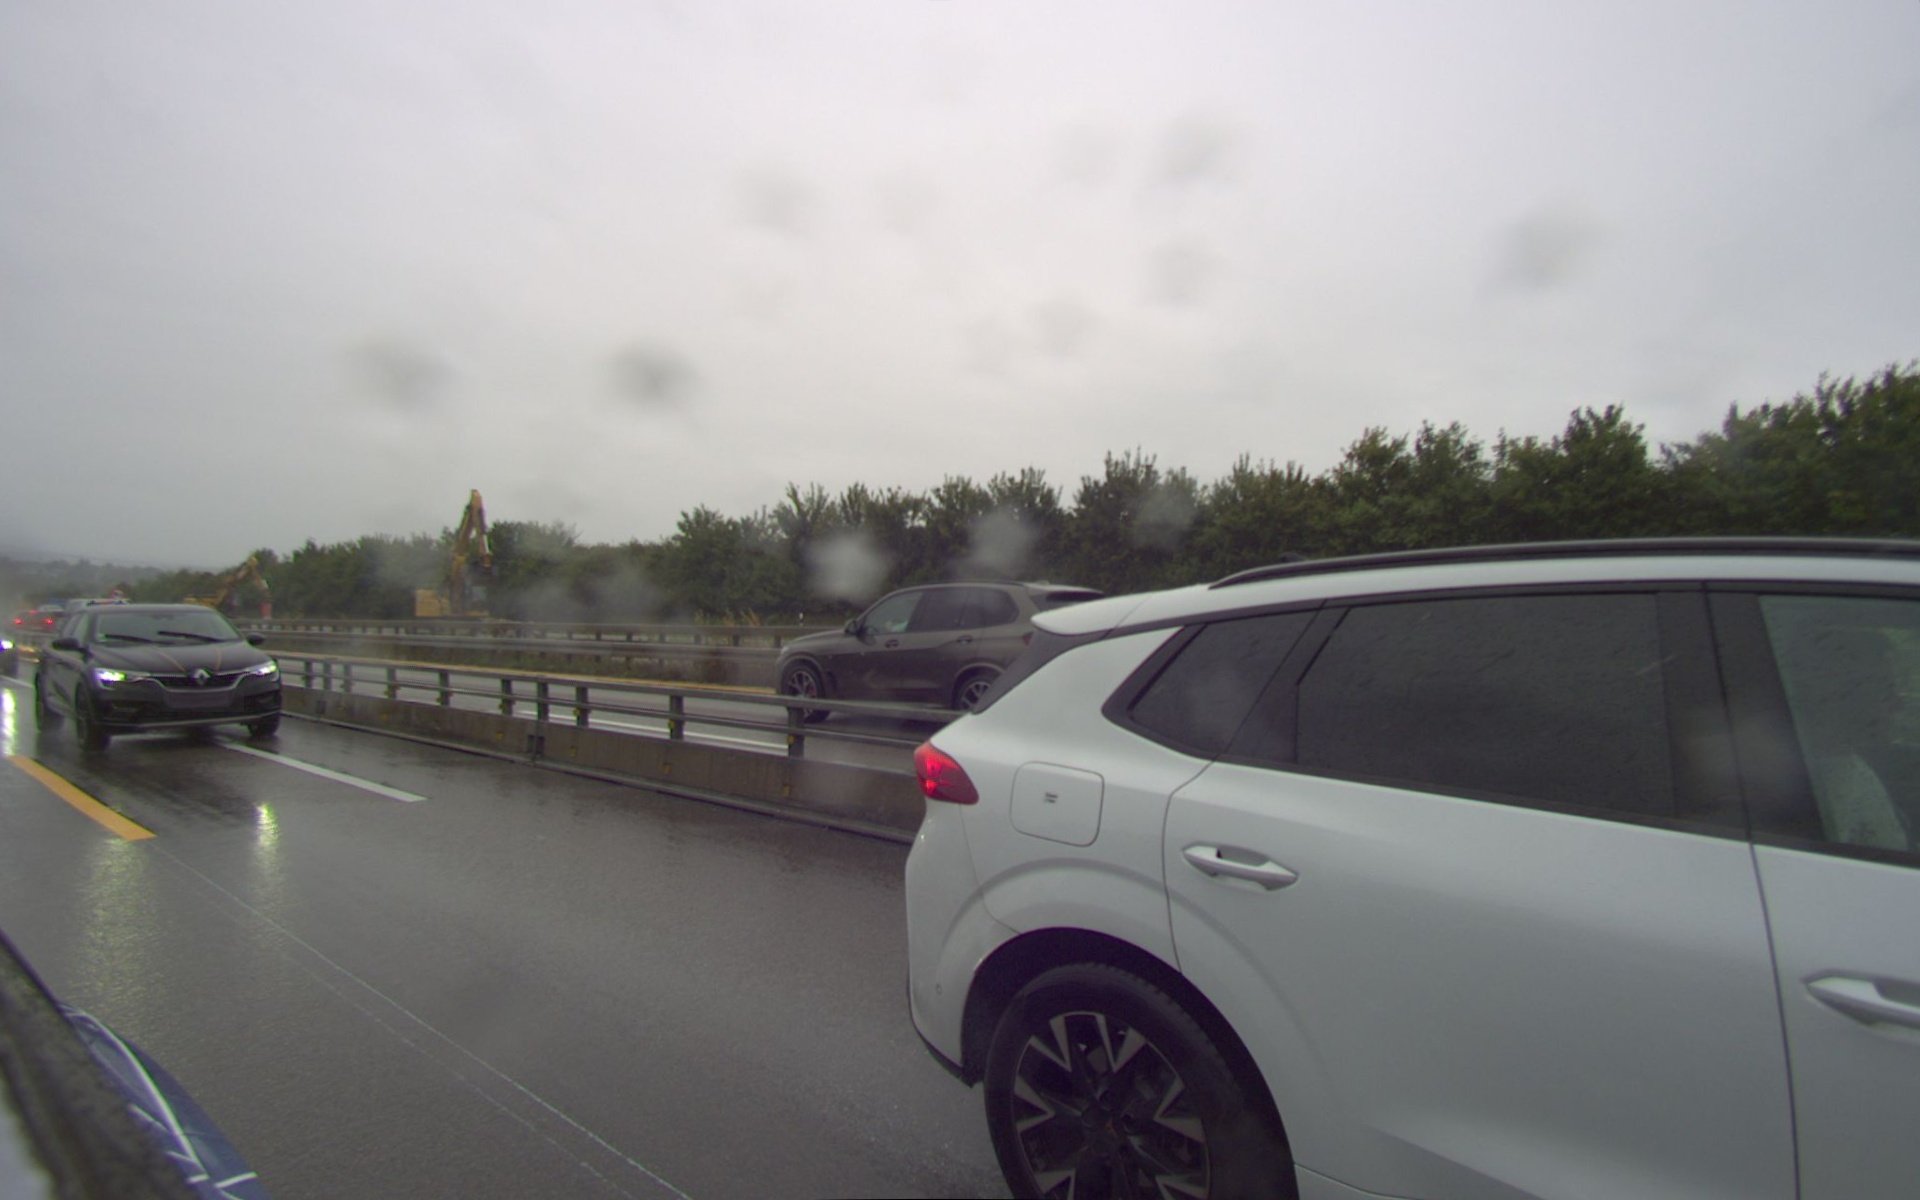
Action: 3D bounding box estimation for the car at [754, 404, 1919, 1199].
[{"bbox_3d":[1.867,0.573,1.920,4.795,1.629,1.972,-1,0,42],"label":"car"}]

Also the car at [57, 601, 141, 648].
[{"bbox_3d":[-35.642,0.979,41.859,5.052,1.820,1.872,-1,0,41],"label":"car"}]

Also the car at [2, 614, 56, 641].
[{"bbox_3d":[-51.885,1.515,56.373,3.828,1.439,1.684,-1,0,39],"label":"car"}]

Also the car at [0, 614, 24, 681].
[{"bbox_3d":[-23.861,1.108,23.950,4.627,1.509,1.973,-1,-1,40],"label":"car"}]

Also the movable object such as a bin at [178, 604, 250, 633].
[{"bbox_3d":[-63.000,1.547,85.457,5.088,2.312,3.409,-1,0,34],"label":"movable object such as a bin"}]

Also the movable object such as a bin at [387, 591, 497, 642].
[{"bbox_3d":[-30.618,0.924,59.719,6.327,2.819,3.726,-1,0,41],"label":"movable object such as a bin"}]

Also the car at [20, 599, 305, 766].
[{"bbox_3d":[-9.548,0.816,11.976,4.413,1.597,1.972,-1,0,42],"label":"car"}]

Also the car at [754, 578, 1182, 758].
[{"bbox_3d":[-0.102,0.679,12.140,5.099,1.730,1.931,-1,0,41],"label":"car"}]
